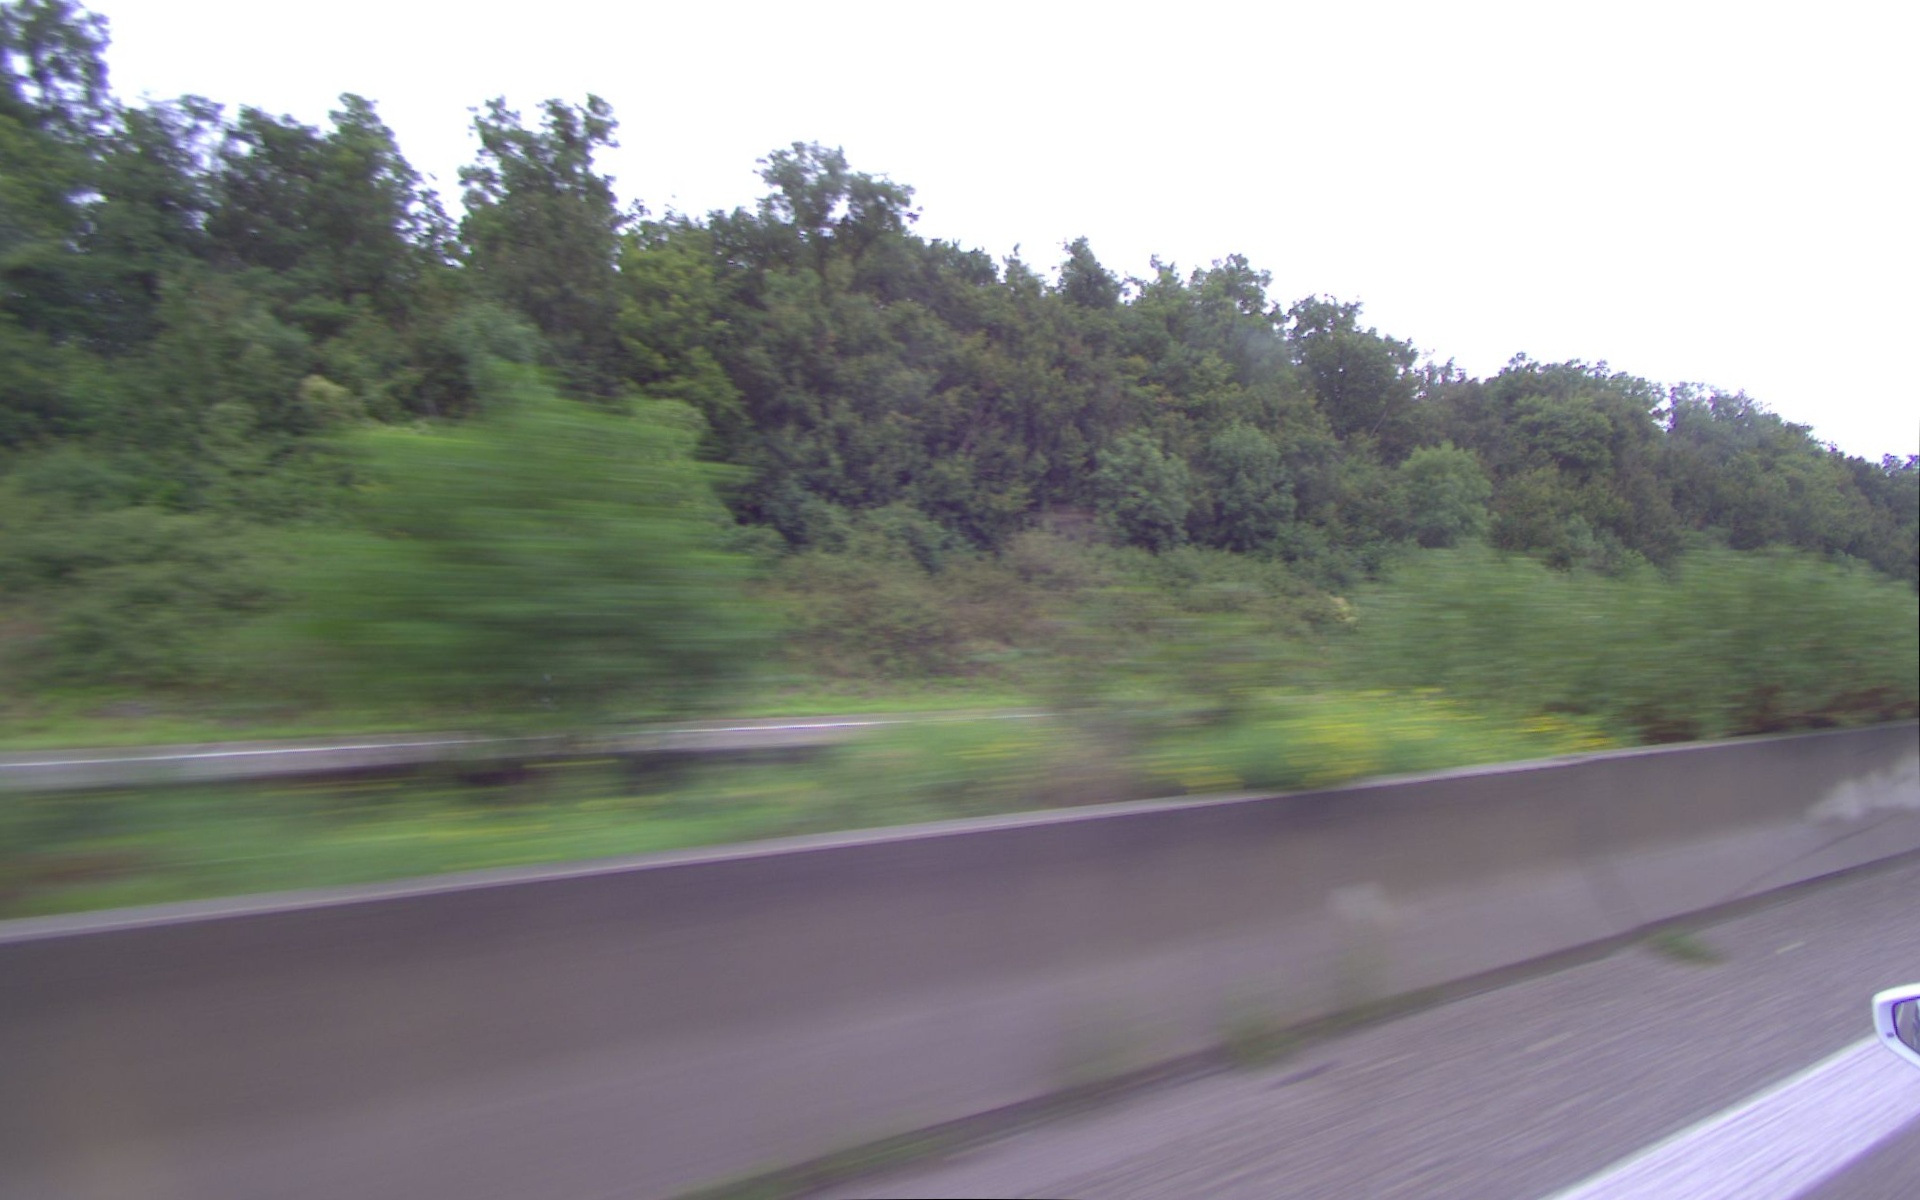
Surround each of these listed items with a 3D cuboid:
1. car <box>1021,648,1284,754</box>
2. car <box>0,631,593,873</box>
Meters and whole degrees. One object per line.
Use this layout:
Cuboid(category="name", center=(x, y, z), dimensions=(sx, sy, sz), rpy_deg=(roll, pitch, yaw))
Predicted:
Cuboid(category="car", center=(3.135, 1.536, 16.202), dimensions=(3.953, 1.472, 1.866), rpy_deg=(2, -2, -31))
Cuboid(category="car", center=(-5.934, 1.194, 9.323), dimensions=(4.445, 1.745, 1.983), rpy_deg=(1, -1, -32))
